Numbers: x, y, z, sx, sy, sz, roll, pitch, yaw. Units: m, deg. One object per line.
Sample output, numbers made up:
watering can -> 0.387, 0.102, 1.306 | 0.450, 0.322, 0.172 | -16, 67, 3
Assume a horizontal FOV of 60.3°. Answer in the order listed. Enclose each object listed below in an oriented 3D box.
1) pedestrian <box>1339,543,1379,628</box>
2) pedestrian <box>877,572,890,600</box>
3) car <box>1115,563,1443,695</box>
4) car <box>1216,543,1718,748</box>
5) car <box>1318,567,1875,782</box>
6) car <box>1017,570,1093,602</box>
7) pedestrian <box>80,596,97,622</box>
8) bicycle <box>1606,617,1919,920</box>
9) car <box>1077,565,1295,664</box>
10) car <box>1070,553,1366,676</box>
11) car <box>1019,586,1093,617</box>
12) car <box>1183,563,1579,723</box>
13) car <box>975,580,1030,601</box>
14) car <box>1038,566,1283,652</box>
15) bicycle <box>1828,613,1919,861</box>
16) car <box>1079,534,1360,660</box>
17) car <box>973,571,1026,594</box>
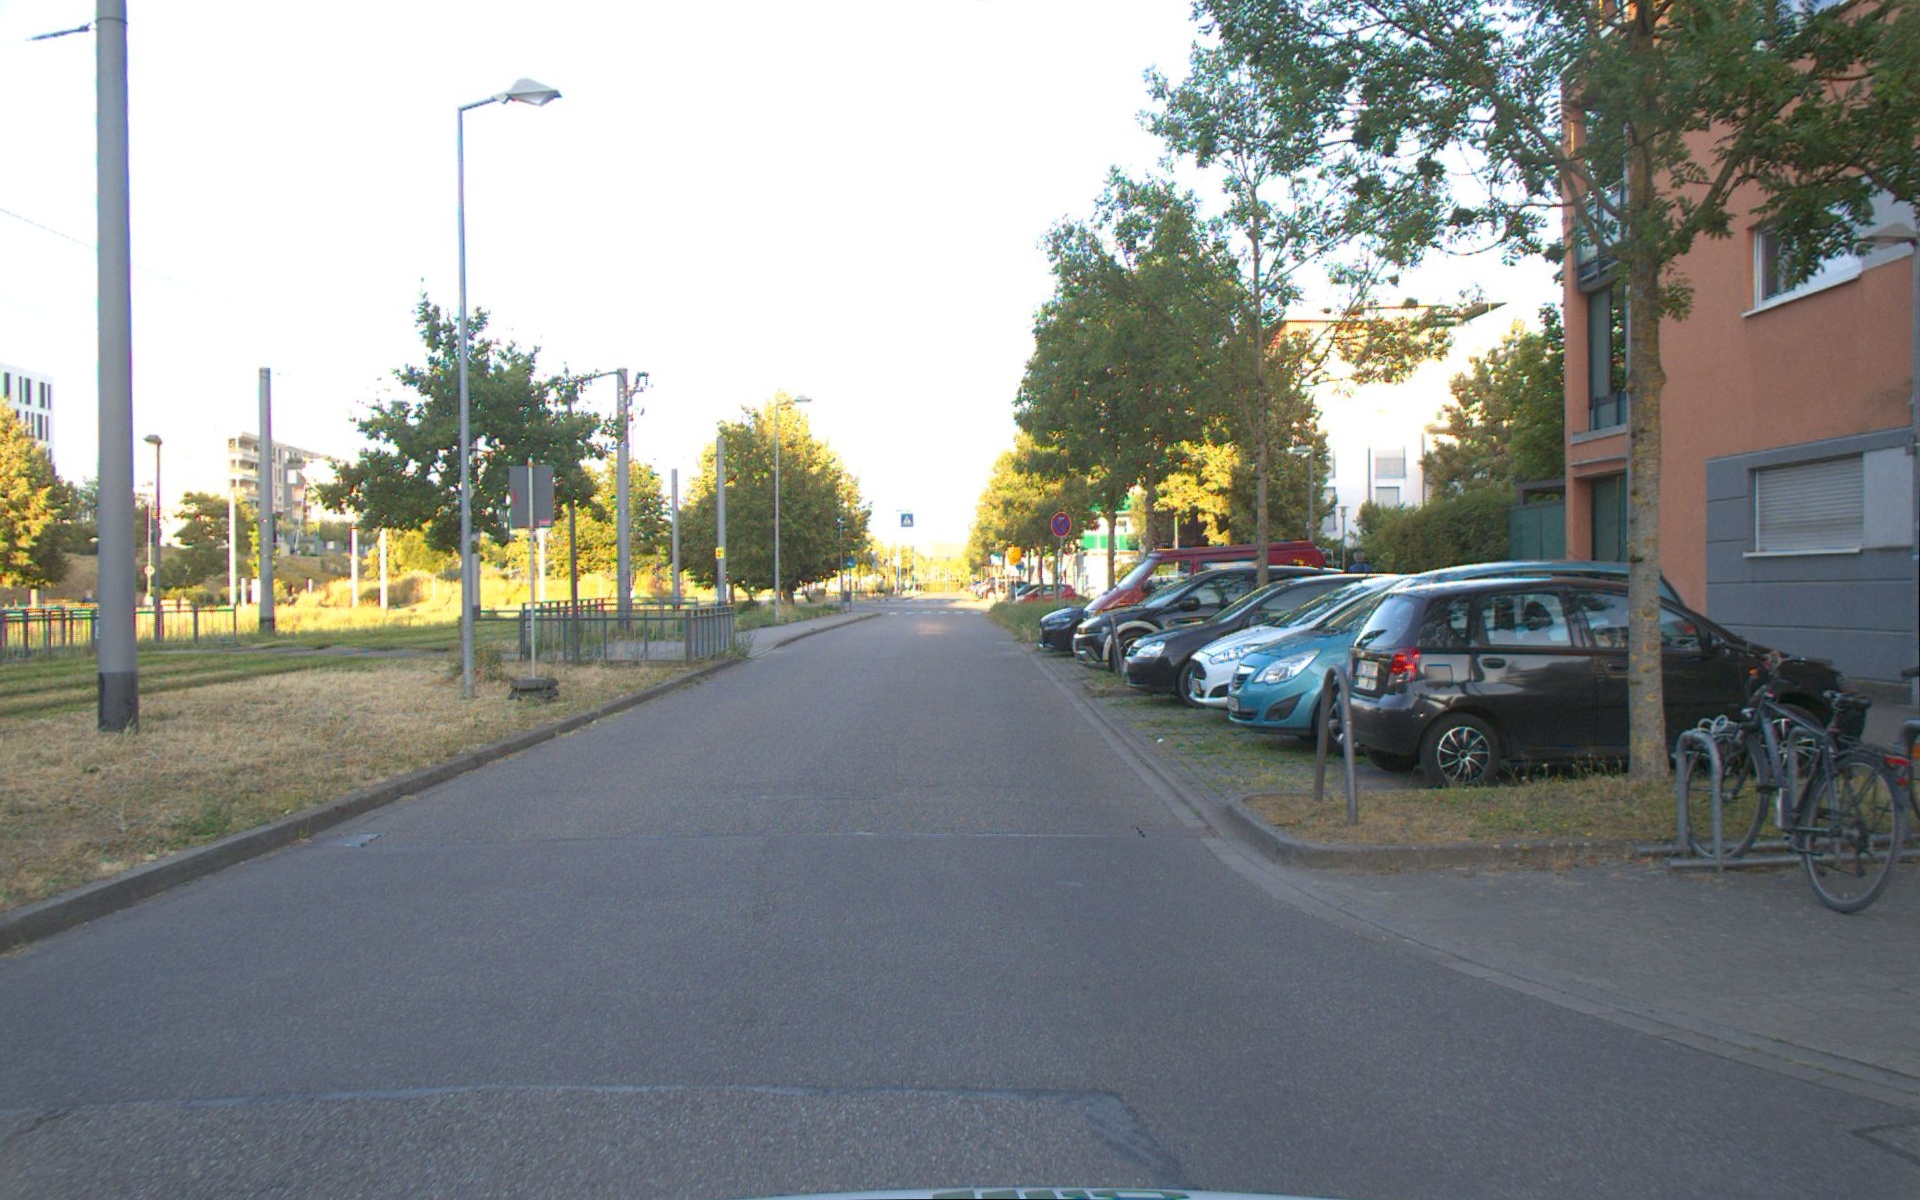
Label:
pedestrian -> 8.451, -0.307, 35.023 | 0.655, 1.773, 0.699 | -1, 0, -1
pedestrian -> -5.752, -1.064, 124.162 | 0.828, 2.049, 0.944 | -1, 0, 5
car -> 3.833, 0.363, 20.250 | 3.696, 1.522, 1.539 | 0, -2, -1
car -> 4.433, 0.377, 14.870 | 3.967, 1.596, 1.673 | -2, 1, 0
car -> 4.780, 0.515, 12.698 | 3.676, 1.499, 1.612 | 0, 1, -5
car -> 4.798, -0.714, 83.741 | 3.726, 1.535, 1.678 | -1, 0, -2
pedestrian -> -61.403, 0.612, 116.546 | 0.770, 1.817, 0.814 | -1, 0, 3
bicycle -> 4.015, 0.732, 8.062 | 0.704, 1.172, 1.894 | -2, 3, -11
car -> 3.808, 0.227, 28.228 | 3.453, 1.490, 1.615 | -3, 0, 0
car -> 3.815, 0.200, 24.958 | 4.130, 1.596, 1.792 | -3, 0, 0
car -> 5.013, 0.073, 86.573 | 3.726, 1.535, 1.678 | -1, 0, -2
car -> 4.390, 0.424, 17.613 | 3.797, 1.596, 1.620 | 0, 1, 0
car -> 3.460, -0.772, 134.145 | 4.392, 1.624, 2.000 | -1, 0, 1
car -> 3.876, 0.166, 32.522 | 4.574, 1.584, 1.811 | -1, 1, -1
bicycle -> 5.073, 0.700, 7.993 | 0.665, 1.172, 1.927 | -3, 2, -2
car -> 4.641, -0.061, 30.151 | 4.818, 2.154, 2.017 | -1, 0, 1
car -> 3.745, -1.667, 157.346 | 4.905, 2.081, 2.248 | -1, 0, -5
